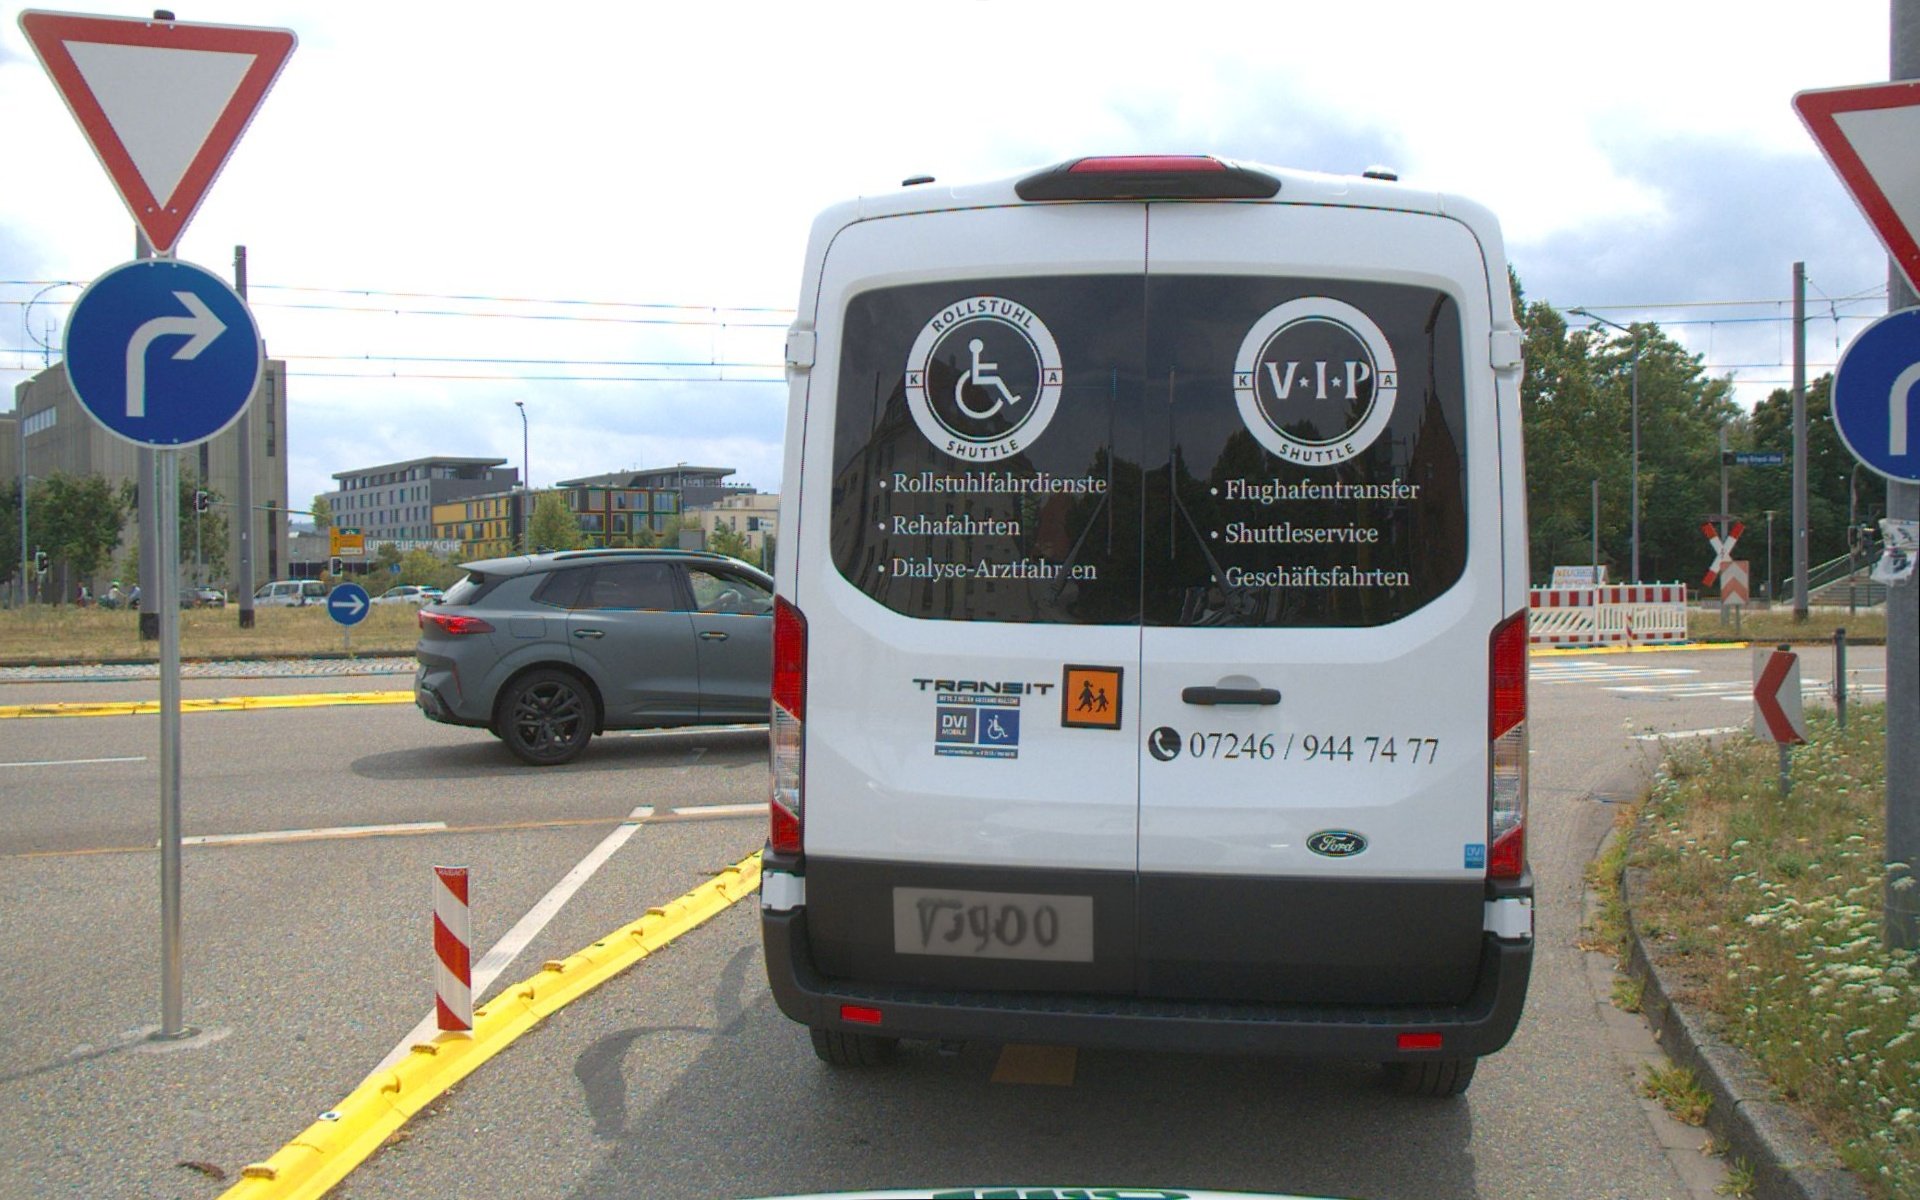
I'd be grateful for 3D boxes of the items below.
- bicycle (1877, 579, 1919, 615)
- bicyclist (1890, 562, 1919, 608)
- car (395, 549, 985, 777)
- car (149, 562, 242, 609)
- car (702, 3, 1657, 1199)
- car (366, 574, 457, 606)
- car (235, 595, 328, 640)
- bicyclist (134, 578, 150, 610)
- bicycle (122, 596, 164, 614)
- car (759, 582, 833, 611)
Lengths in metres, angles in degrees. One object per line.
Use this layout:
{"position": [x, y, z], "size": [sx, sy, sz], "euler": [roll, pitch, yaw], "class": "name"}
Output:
{"position": [27.895, -0.100, 48.754], "size": [0.639, 1.024, 1.754], "euler": [0, 1, -6], "class": "bicycle"}
{"position": [27.904, -0.435, 48.708], "size": [0.626, 1.340, 0.674], "euler": [0, 1, -8], "class": "bicyclist"}
{"position": [-2.211, 0.402, 13.417], "size": [4.398, 1.578, 2.051], "euler": [-1, 1, -22], "class": "car"}
{"position": [-34.023, -0.633, 73.600], "size": [3.917, 2.049, 1.994], "euler": [0, -1, 34], "class": "car"}
{"position": [0.668, 0.054, 6.470], "size": [2.081, 2.744, 5.635], "euler": [0, 1, 4], "class": "car"}
{"position": [-26.601, -0.481, 80.207], "size": [3.904, 1.489, 1.833], "euler": [0, -1, 21], "class": "car"}
{"position": [-31.795, 0.817, 77.533], "size": [4.271, 2.049, 1.994], "euler": [0, -1, 34], "class": "car"}
{"position": [-41.067, -0.322, 82.999], "size": [0.639, 1.585, 0.527], "euler": [-1, 1, -21], "class": "bicyclist"}
{"position": [-41.022, 0.249, 83.047], "size": [1.803, 0.892, 0.527], "euler": [-1, 1, -22], "class": "bicycle"}
{"position": [-8.437, -0.175, 85.450], "size": [1.794, 1.489, 3.991], "euler": [0, 0, 31], "class": "car"}
